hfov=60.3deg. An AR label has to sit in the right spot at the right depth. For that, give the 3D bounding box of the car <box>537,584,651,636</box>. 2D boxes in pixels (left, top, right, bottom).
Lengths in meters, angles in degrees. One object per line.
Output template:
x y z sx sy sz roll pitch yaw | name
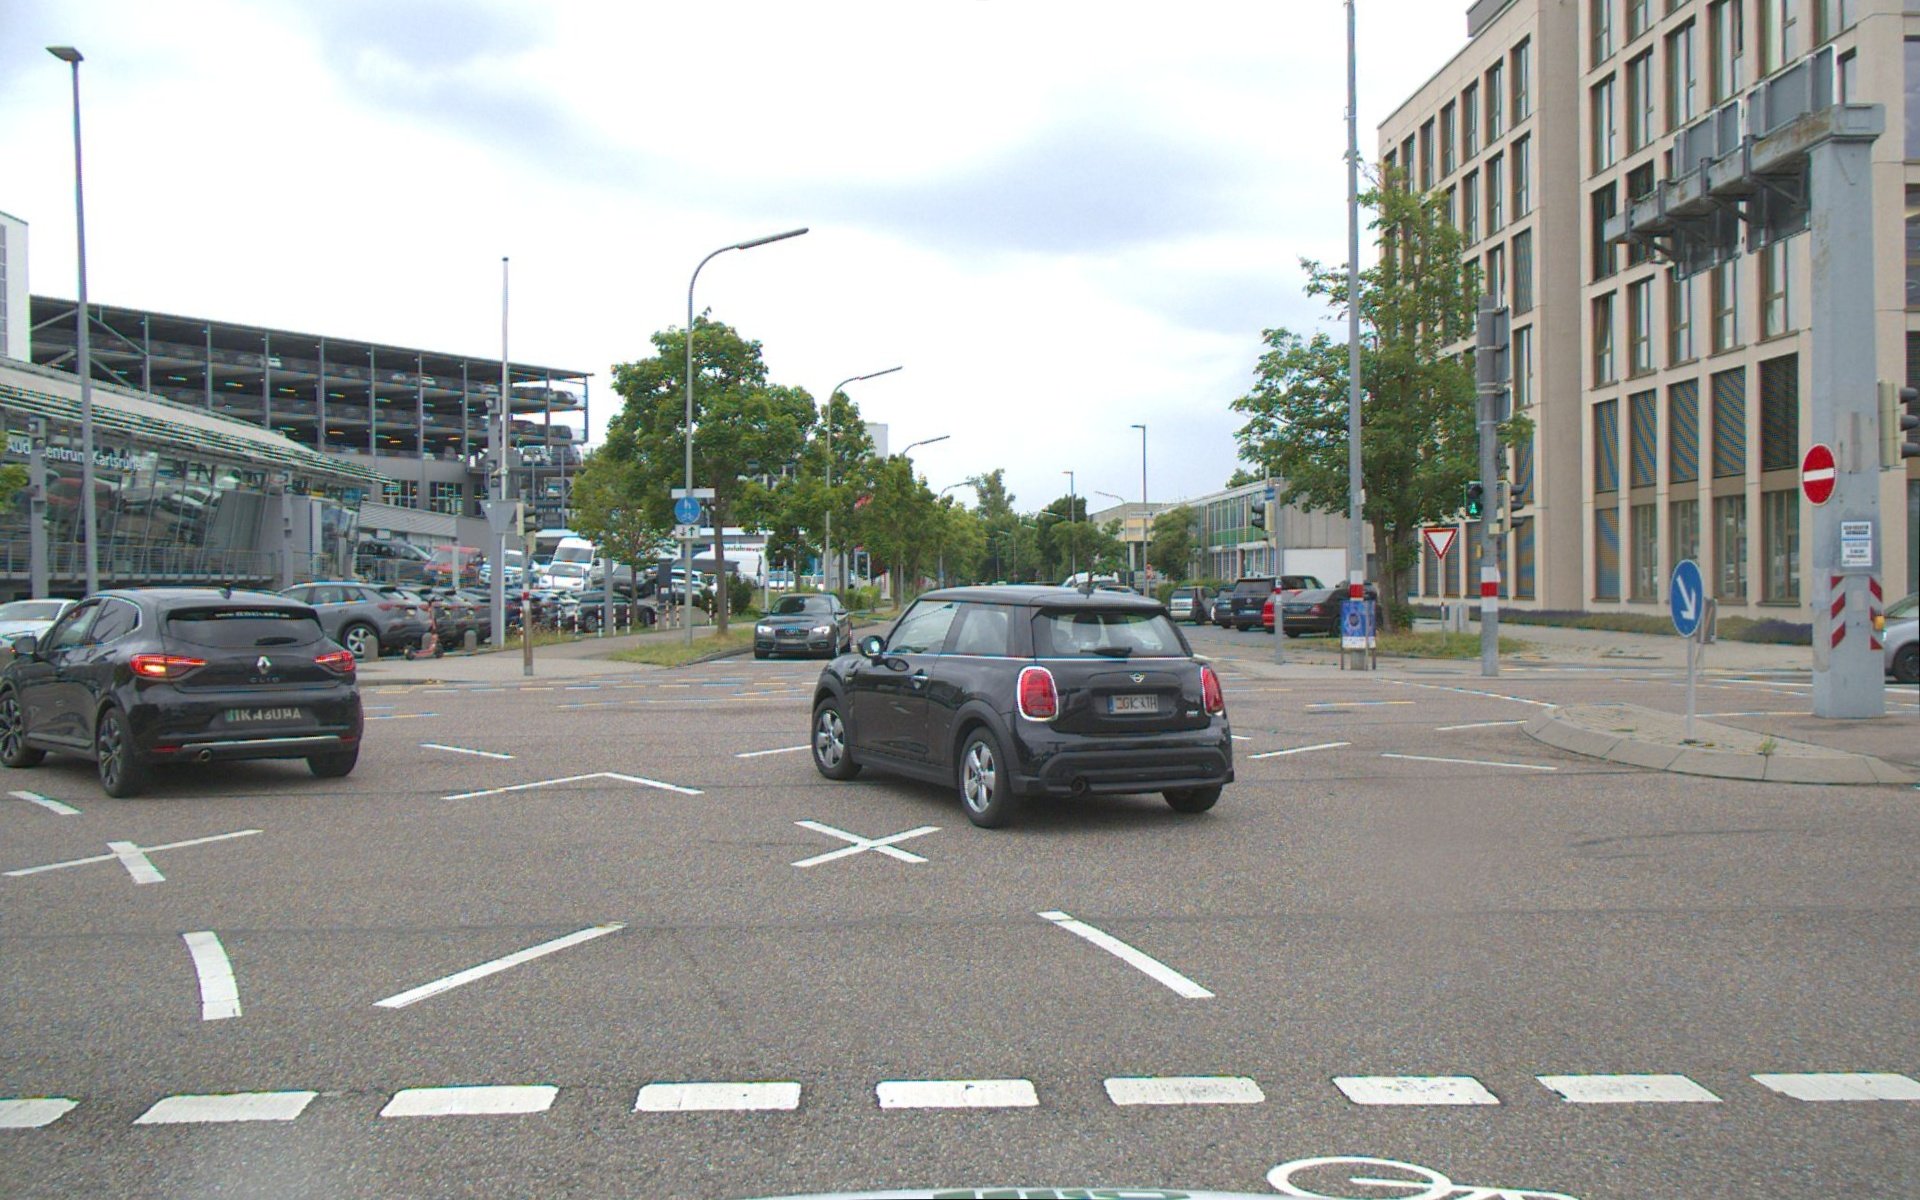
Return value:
-13.776 0.371 62.382 3.906 1.870 1.759 1 -1 -2 | car

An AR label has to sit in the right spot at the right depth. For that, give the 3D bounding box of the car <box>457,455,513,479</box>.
-45.998 -12.850 160.096 5.214 1.979 2.207 0 0 30 | car

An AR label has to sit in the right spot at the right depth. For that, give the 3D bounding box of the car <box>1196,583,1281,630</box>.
11.233 0.281 66.591 3.403 1.830 1.567 2 -1 -41 | car

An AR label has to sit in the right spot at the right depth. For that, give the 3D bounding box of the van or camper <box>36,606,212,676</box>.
-23.265 1.141 46.127 3.907 1.848 1.846 1 -1 -3 | van or camper

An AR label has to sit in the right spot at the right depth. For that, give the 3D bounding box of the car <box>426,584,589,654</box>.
-14.889 0.626 54.639 4.796 2.049 1.998 -2 -1 -4 | car

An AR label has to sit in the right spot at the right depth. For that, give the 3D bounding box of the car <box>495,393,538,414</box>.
-43.390 -19.202 161.782 3.916 1.696 1.994 0 0 33 | car

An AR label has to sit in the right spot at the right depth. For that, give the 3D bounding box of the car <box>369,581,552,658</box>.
-14.761 0.582 49.086 4.796 2.049 1.998 -2 -1 -4 | car

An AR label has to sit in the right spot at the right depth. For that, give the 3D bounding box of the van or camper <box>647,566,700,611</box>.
-13.732 -0.508 79.473 1.954 2.049 3.998 1 -1 -3 | van or camper

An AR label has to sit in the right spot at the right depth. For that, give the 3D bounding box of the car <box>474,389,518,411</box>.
-44.803 -19.260 159.693 3.916 1.696 1.994 0 0 33 | car

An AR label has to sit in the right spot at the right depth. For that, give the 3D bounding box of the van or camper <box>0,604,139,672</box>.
-23.900 0.971 43.152 3.907 1.707 1.999 1 -1 -3 | van or camper

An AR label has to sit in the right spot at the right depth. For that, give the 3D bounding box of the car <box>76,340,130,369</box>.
-65.586 -18.777 126.509 3.916 1.696 1.994 0 0 33 | car

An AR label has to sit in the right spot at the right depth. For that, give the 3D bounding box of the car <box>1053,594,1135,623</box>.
8.728 0.555 108.015 5.069 1.750 2.143 1 -1 -2 | car

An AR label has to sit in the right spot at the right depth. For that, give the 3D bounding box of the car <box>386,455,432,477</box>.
-50.272 -12.195 150.905 3.916 1.696 1.994 0 0 33 | car

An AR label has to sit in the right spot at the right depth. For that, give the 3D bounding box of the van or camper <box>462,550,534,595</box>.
-18.944 -1.106 68.009 1.954 1.680 3.997 1 -1 -3 | van or camper

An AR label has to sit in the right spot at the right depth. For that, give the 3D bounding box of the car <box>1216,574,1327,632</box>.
11.031 0.127 58.484 1.965 2.000 4.219 -1 -1 42 | car

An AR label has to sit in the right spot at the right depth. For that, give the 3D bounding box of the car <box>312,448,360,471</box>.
-54.296 -12.203 143.875 3.916 1.696 1.994 0 0 33 | car

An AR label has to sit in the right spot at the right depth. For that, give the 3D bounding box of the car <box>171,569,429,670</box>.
-14.098 0.413 35.560 4.678 1.895 1.998 -2 -1 -4 | car

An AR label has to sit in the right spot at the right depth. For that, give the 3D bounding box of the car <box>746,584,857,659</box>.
-3.536 0.450 37.622 1.937 1.578 4.615 0 0 2 | car

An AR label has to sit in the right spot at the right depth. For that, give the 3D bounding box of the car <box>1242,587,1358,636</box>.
11.398 0.381 55.274 4.102 1.578 1.858 0 -1 -44 | car

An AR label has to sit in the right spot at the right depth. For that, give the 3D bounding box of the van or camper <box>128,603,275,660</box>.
-24.710 1.027 53.993 3.907 1.741 1.846 1 -1 -3 | van or camper

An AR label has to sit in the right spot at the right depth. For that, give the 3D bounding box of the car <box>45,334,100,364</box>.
-66.723 -18.828 124.349 3.916 1.696 1.994 0 0 33 | car

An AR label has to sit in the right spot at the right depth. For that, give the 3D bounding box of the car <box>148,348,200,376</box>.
-62.303 -18.872 131.123 3.916 1.696 1.994 0 0 33 | car

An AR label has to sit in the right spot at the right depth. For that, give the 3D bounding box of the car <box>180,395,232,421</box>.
-60.638 -15.434 132.979 3.916 1.696 1.994 0 0 33 | car

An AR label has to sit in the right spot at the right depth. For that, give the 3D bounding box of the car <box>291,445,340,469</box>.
-55.320 -12.246 141.918 3.916 1.696 1.994 0 0 33 | car

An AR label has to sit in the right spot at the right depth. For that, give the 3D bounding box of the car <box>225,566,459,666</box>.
-14.166 0.366 38.132 4.608 2.049 1.998 -2 -1 -4 | car

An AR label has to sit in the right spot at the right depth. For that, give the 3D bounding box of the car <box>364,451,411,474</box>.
-51.409 -12.324 148.488 3.916 1.696 1.994 0 0 33 | car

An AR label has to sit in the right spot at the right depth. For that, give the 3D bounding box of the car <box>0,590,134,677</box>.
-17.419 0.666 31.015 1.831 1.512 4.227 -1 -2 -2 | car

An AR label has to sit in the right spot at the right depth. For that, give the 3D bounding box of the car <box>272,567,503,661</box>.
-14.145 0.345 41.140 4.923 2.049 2.264 -2 -1 -4 | car

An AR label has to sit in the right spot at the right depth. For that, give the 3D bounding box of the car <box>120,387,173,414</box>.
-63.398 -15.539 128.831 3.916 1.696 1.994 0 0 33 | car

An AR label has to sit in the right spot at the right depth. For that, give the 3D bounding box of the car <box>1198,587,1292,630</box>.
10.693 0.332 61.890 1.668 1.538 3.792 -1 -1 44 | car

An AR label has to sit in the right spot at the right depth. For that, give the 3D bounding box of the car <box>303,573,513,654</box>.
-14.524 0.362 43.774 4.851 1.909 2.051 -2 -1 -6 | car

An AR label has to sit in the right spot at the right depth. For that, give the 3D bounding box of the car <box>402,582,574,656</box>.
-14.725 0.589 51.806 4.796 2.049 1.998 -2 -1 -4 | car

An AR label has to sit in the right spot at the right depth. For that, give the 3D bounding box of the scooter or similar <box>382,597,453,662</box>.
-10.752 0.568 32.841 0.545 1.240 1.561 2 1 15 | scooter or similar

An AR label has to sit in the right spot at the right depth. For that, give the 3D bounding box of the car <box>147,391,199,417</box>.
-62.243 -15.491 130.849 3.916 1.696 1.994 0 0 33 | car

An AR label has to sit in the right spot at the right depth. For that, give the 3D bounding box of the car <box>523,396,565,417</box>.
-41.505 -19.294 165.112 3.916 1.696 1.994 0 0 33 | car

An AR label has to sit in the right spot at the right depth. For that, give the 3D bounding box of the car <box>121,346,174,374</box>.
-63.374 -18.703 128.956 3.916 1.696 1.994 0 0 33 | car

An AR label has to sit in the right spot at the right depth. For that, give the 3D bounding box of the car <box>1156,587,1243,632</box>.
9.867 0.414 68.085 3.403 1.762 1.740 2 -1 -41 | car

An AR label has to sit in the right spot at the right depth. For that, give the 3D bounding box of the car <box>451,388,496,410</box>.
-46.342 -19.153 157.507 3.916 1.696 1.994 0 0 33 | car

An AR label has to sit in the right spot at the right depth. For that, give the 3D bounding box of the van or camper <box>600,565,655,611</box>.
-15.890 -0.549 79.312 1.954 2.049 3.998 1 -1 -3 | van or camper

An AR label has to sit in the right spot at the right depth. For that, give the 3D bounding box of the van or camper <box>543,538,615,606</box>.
-18.226 -1.302 79.396 2.485 3.079 4.840 1 -1 -3 | van or camper

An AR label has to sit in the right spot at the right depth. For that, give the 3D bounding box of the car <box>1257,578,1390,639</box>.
11.208 0.258 50.846 4.092 1.799 1.862 0 -1 -39 | car

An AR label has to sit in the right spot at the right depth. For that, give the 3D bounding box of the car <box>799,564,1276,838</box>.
0.352 0.540 11.382 1.764 1.440 3.614 0 3 -26 | car
